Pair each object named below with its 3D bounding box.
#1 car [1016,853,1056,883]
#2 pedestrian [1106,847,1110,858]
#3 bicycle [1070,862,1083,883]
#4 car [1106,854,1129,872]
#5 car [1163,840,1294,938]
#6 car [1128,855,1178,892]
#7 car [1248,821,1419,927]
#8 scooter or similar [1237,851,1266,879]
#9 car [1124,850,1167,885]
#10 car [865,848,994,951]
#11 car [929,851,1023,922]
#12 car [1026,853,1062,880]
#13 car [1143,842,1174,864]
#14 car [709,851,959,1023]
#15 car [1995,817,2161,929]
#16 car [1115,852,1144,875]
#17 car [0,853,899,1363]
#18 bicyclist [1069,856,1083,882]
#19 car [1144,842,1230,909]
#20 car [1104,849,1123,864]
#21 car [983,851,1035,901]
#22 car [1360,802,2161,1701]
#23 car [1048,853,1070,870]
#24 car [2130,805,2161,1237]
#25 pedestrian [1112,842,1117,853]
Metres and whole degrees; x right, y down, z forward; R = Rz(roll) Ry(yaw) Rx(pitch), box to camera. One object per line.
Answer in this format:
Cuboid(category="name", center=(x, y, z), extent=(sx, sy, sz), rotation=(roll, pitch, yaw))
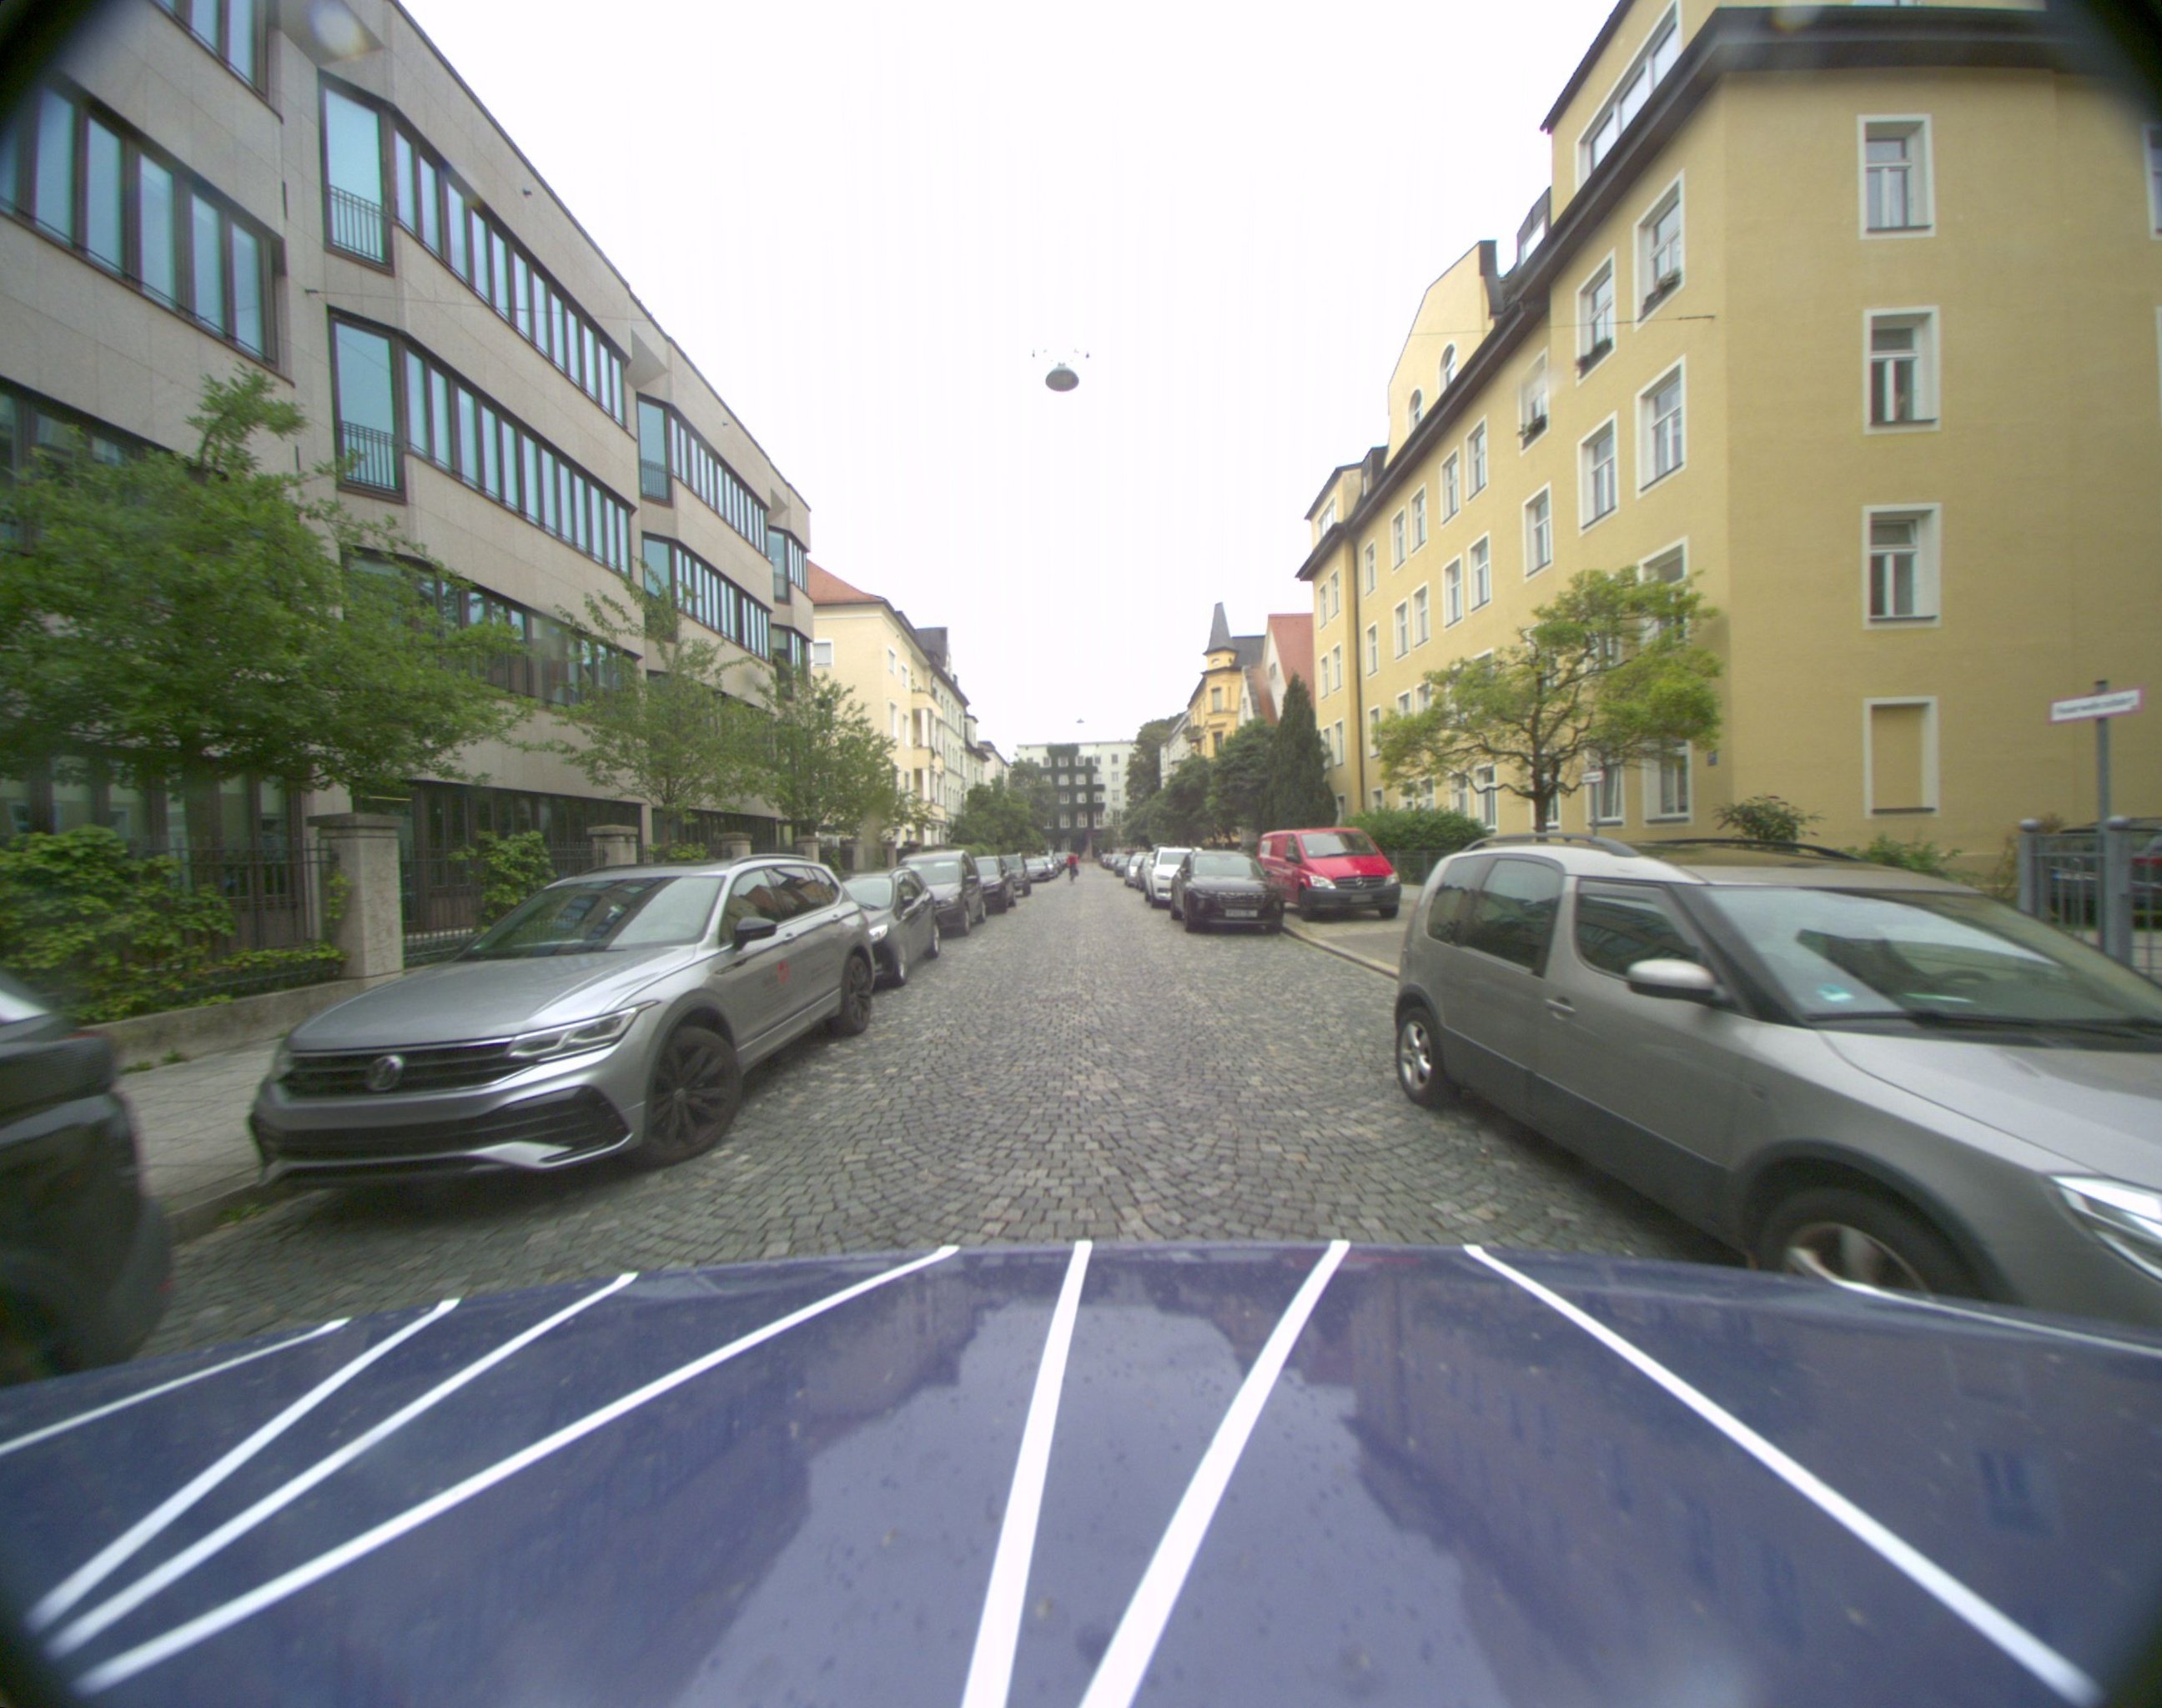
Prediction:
Cuboid(category="car", center=(-2.691, 0.816, 46.748), extent=(1.998, 1.543, 5.014), rotation=(-4, 0, 1))
Cuboid(category="pedestrian", center=(4.854, -0.310, 135.948), extent=(0.701, 1.905, 0.863), rotation=(-4, 1, 3))
Cuboid(category="bicycle", center=(-0.249, 0.970, 40.652), extent=(0.636, 1.021, 1.955), rotation=(-3, 1, 0))
Cuboid(category="car", center=(3.321, 0.776, 69.754), extent=(1.744, 1.577, 4.191), rotation=(-1, 1, -2))
Cuboid(category="car", center=(2.945, 0.615, 16.284), extent=(1.922, 1.725, 4.755), rotation=(2, 1, 1))
Cuboid(category="car", center=(2.943, 0.754, 31.632), extent=(1.734, 1.410, 3.936), rotation=(0, 1, 1))
Cuboid(category="car", center=(5.442, 0.369, 17.293), extent=(1.999, 1.920, 5.330), rotation=(-3, 0, 0))
Cuboid(category="scooter or similar", center=(7.815, 0.508, 34.870), extent=(0.958, 1.193, 1.522), rotation=(-4, 1, 1))
Cuboid(category="car", center=(2.991, 0.612, 36.220), extent=(1.718, 1.553, 4.390), rotation=(0, 0, 0))
Cuboid(category="car", center=(-3.124, 0.843, 16.654), extent=(1.793, 1.786, 4.509), rotation=(-6, 0, -1))
Cuboid(category="car", center=(-2.914, 0.834, 22.093), extent=(1.865, 1.692, 4.813), rotation=(-5, 0, 1))
Cuboid(category="car", center=(-2.471, 0.810, 51.980), extent=(1.998, 1.543, 4.986), rotation=(-4, 0, 1))
Cuboid(category="car", center=(5.786, -0.083, 57.014), extent=(1.744, 1.527, 4.466), rotation=(-3, 1, 0))
Cuboid(category="car", center=(-3.126, 0.921, 10.816), extent=(1.878, 1.725, 4.658), rotation=(-6, 0, 0))
Cuboid(category="car", center=(15.662, 0.190, 10.375), extent=(4.077, 1.415, 1.833), rotation=(-1, 1, 1))
Cuboid(category="car", center=(3.284, 0.605, 51.947), extent=(1.819, 1.447, 4.912), rotation=(1, 1, 2))
Cuboid(category="car", center=(-2.915, 0.939, 5.213), extent=(1.877, 1.725, 4.892), rotation=(-4, 1, 2))
Cuboid(category="bicyclist", center=(-0.258, 0.778, 40.535), extent=(0.648, 1.350, 0.656), rotation=(-3, 1, 0))
Cuboid(category="car", center=(3.043, 0.546, 22.848), extent=(2.011, 1.798, 5.174), rotation=(0, 1, 2))
Cuboid(category="car", center=(3.507, 0.251, 82.061), extent=(1.846, 1.577, 4.191), rotation=(-1, 1, -1))
Cuboid(category="car", center=(-2.845, 0.811, 30.608), extent=(1.623, 1.741, 3.886), rotation=(-5, 0, -1))
Cuboid(category="car", center=(2.961, 0.764, 3.115), extent=(1.870, 1.725, 4.402), rotation=(1, 0, -2))
Cuboid(category="car", center=(-2.194, 0.719, 78.210), extent=(1.909, 1.494, 5.105), rotation=(-5, 1, 1))
Cuboid(category="car", center=(5.230, 0.610, 0.722), extent=(1.950, 1.725, 4.657), rotation=(-5, 0, 0))
Cuboid(category="pedestrian", center=(5.950, -1.097, 136.020), extent=(0.665, 1.905, 0.863), rotation=(-4, 1, 9))
